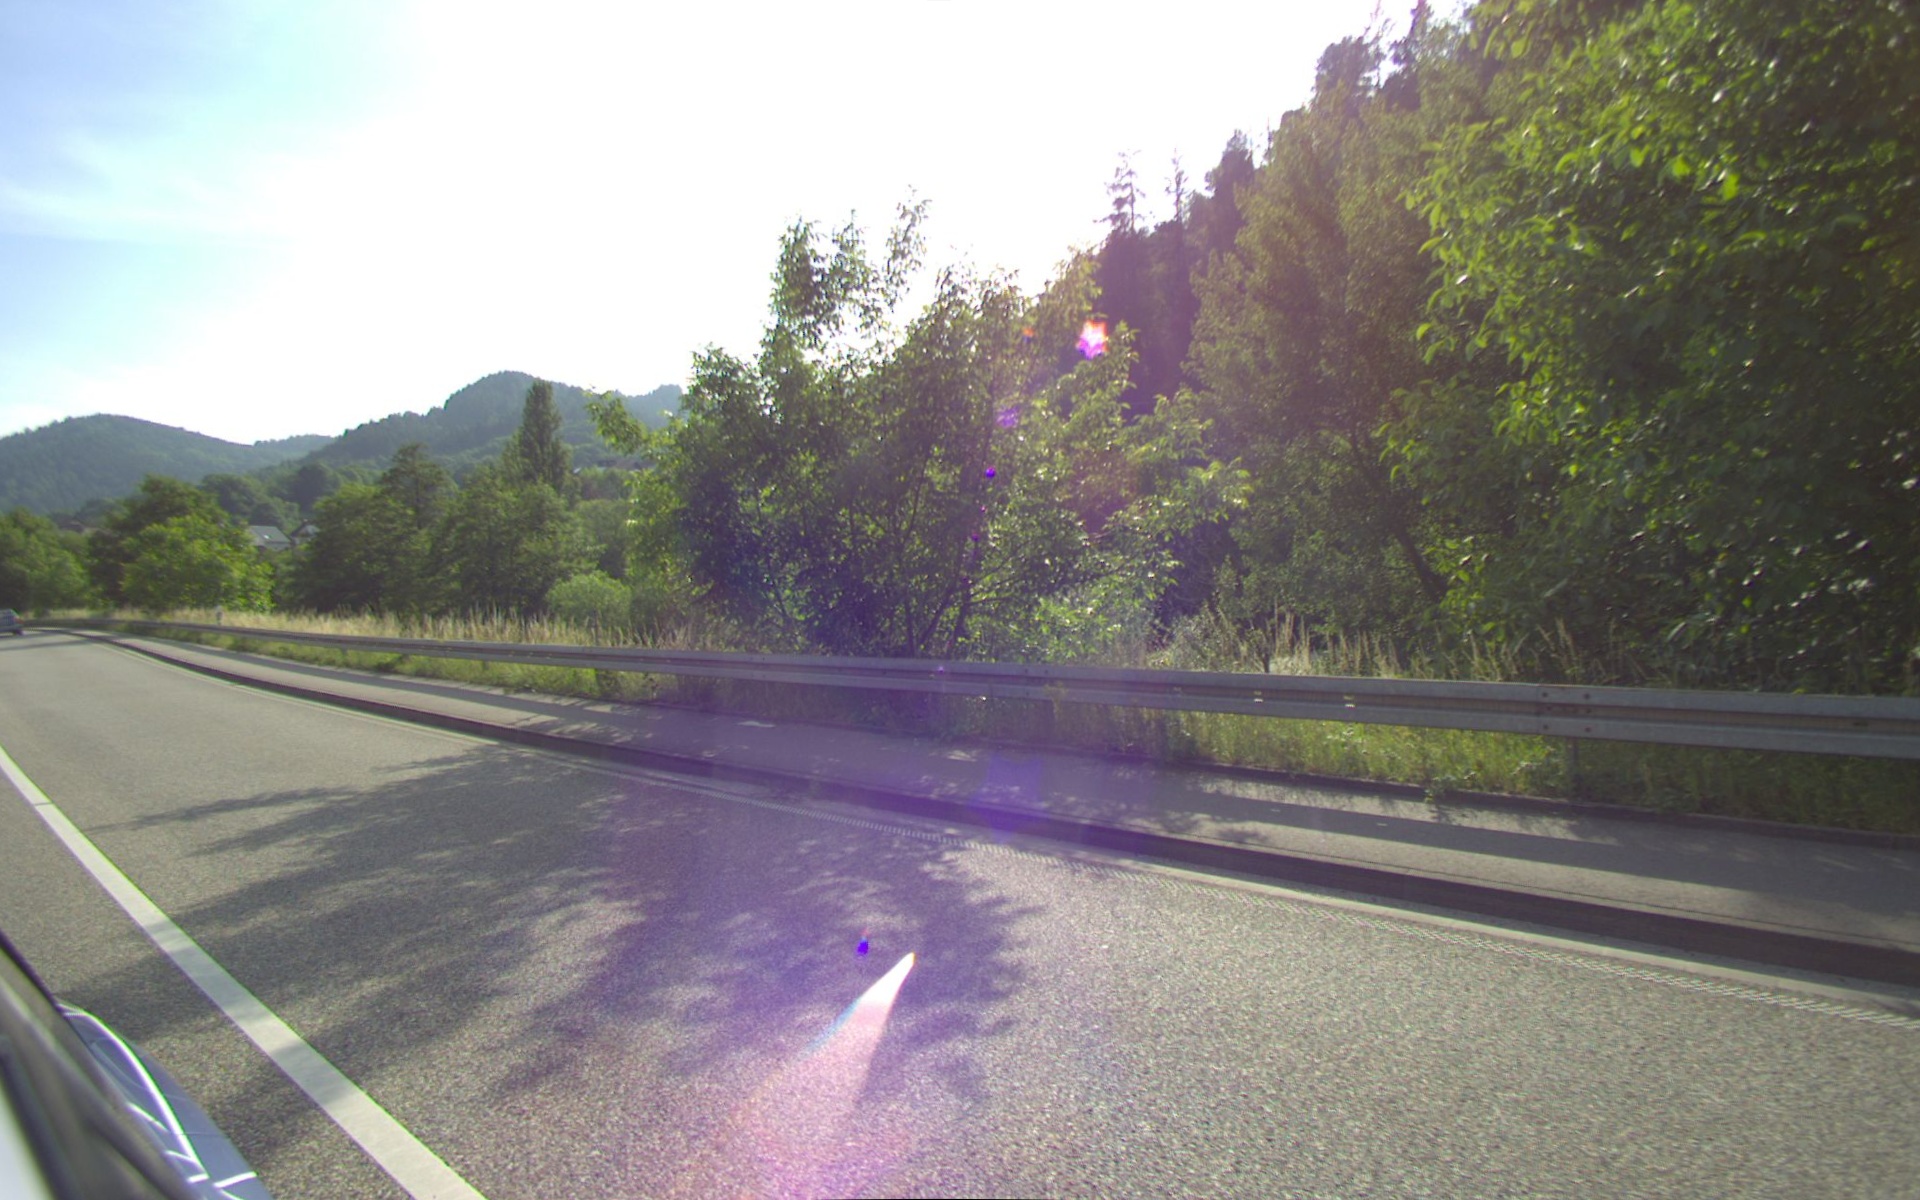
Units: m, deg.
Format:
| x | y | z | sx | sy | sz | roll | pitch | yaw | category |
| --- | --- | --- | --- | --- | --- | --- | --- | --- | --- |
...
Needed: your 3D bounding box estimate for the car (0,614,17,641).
| x | y | z | sx | sy | sz | roll | pitch | yaw | category |
| --- | --- | --- | --- | --- | --- | --- | --- | --- | --- |
| -55.279 | 1.573 | 58.058 | 1.559 | 1.490 | 4.003 | -3 | 1 | -44 | car |
